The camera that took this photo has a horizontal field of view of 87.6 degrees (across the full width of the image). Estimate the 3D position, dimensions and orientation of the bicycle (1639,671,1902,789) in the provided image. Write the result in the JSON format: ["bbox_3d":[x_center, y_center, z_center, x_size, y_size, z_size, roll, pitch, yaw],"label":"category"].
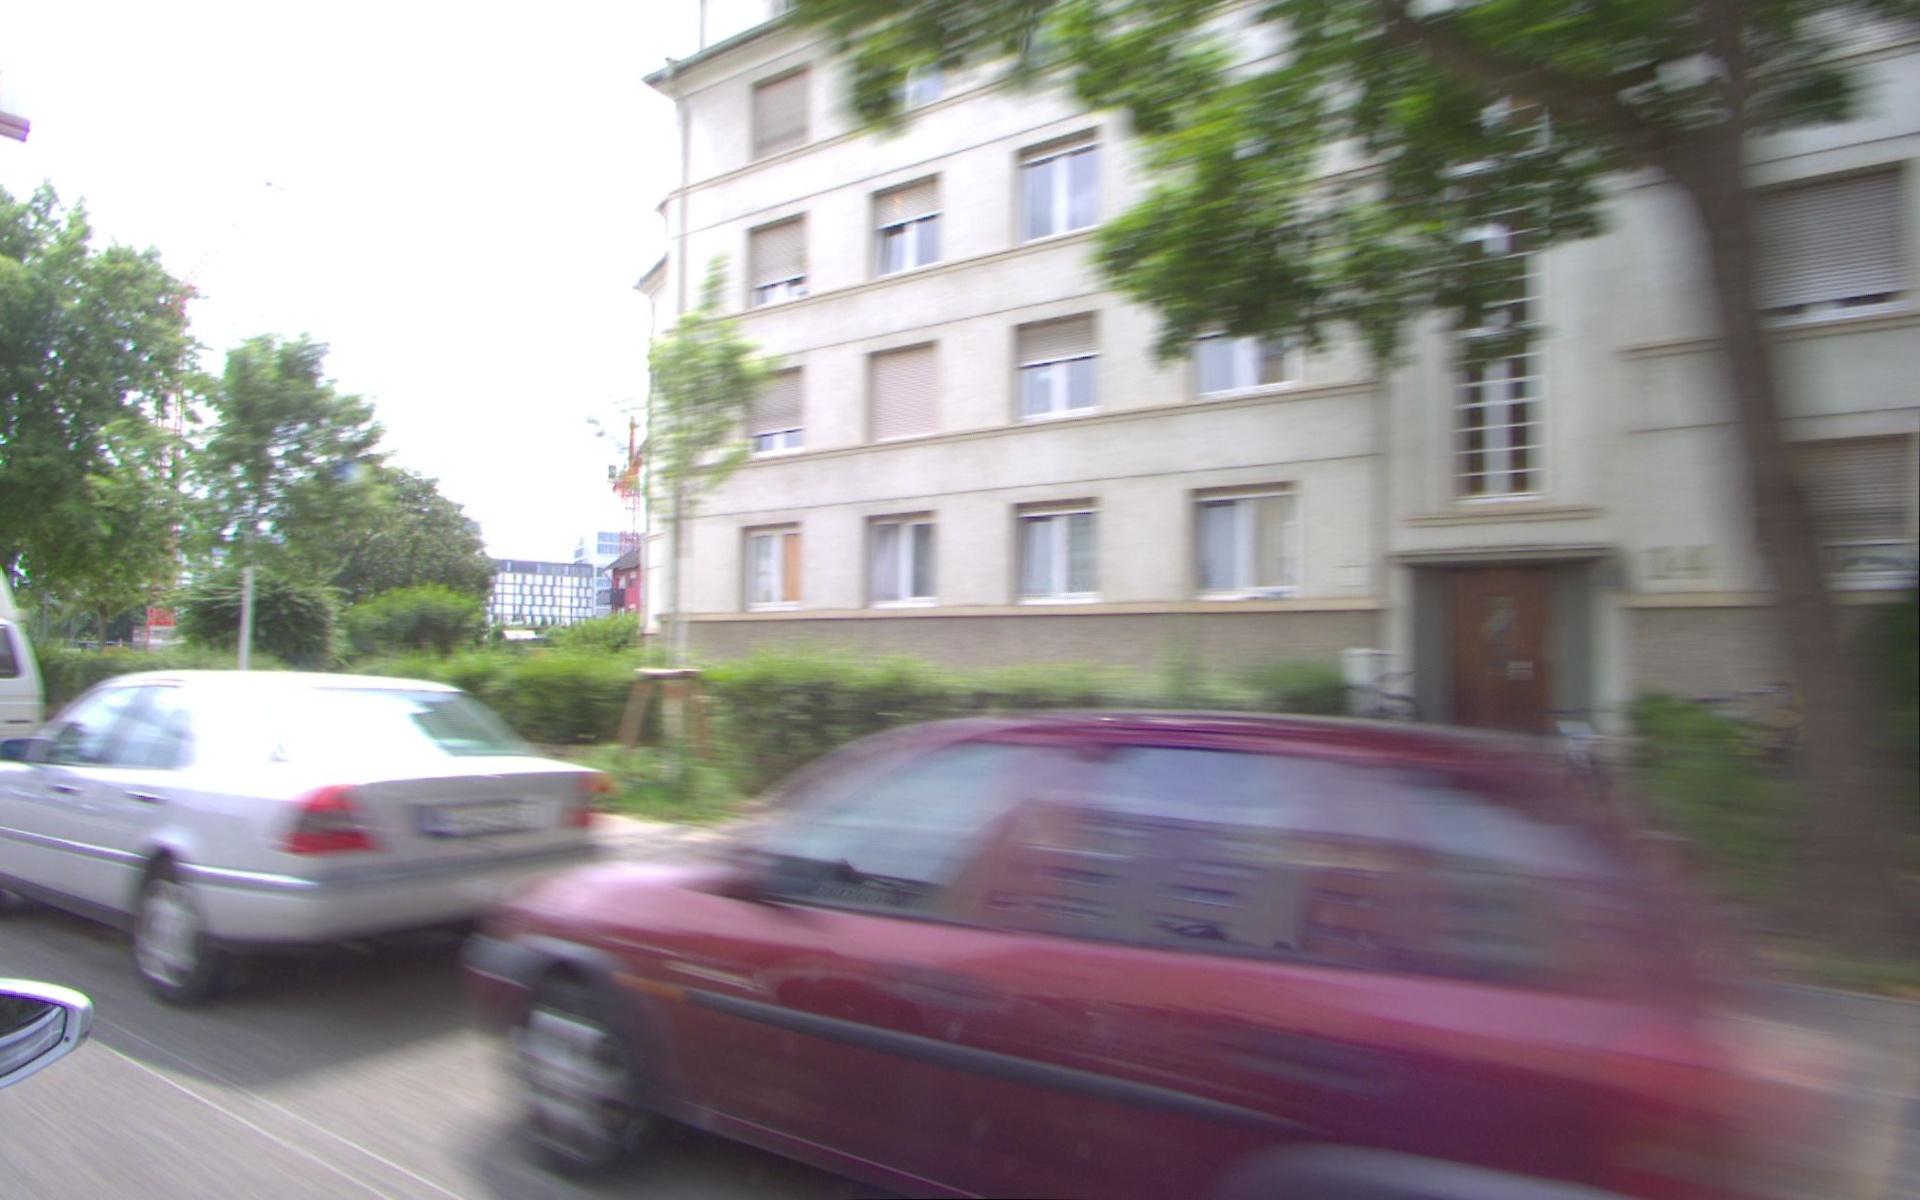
[{"bbox_3d":[8.991,1.408,11.254,2.216,1.126,0.707,0,-2,33],"label":"bicycle"}]

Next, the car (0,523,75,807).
[{"bbox_3d":[-11.178,0.606,10.151,4.760,2.617,1.896,-1,-5,32],"label":"car"}]

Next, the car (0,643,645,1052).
[{"bbox_3d":[-4.013,1.038,5.591,4.488,1.486,1.680,-1,-6,31],"label":"car"}]

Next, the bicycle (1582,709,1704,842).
[{"bbox_3d":[5.746,1.440,8.486,0.505,0.928,1.387,1,-2,19],"label":"bicycle"}]

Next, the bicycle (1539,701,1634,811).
[{"bbox_3d":[6.237,1.521,10.031,0.505,0.928,1.387,1,-2,19],"label":"bicycle"}]

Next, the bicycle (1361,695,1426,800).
[{"bbox_3d":[4.464,1.492,10.369,0.505,0.928,1.387,1,-2,19],"label":"bicycle"}]

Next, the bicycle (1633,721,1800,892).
[{"bbox_3d":[5.119,1.351,6.856,0.505,0.928,1.387,1,-2,19],"label":"bicycle"}]

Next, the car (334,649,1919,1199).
[{"bbox_3d":[0.061,0.953,3.136,3.941,1.482,1.713,-1,-6,30],"label":"car"}]
